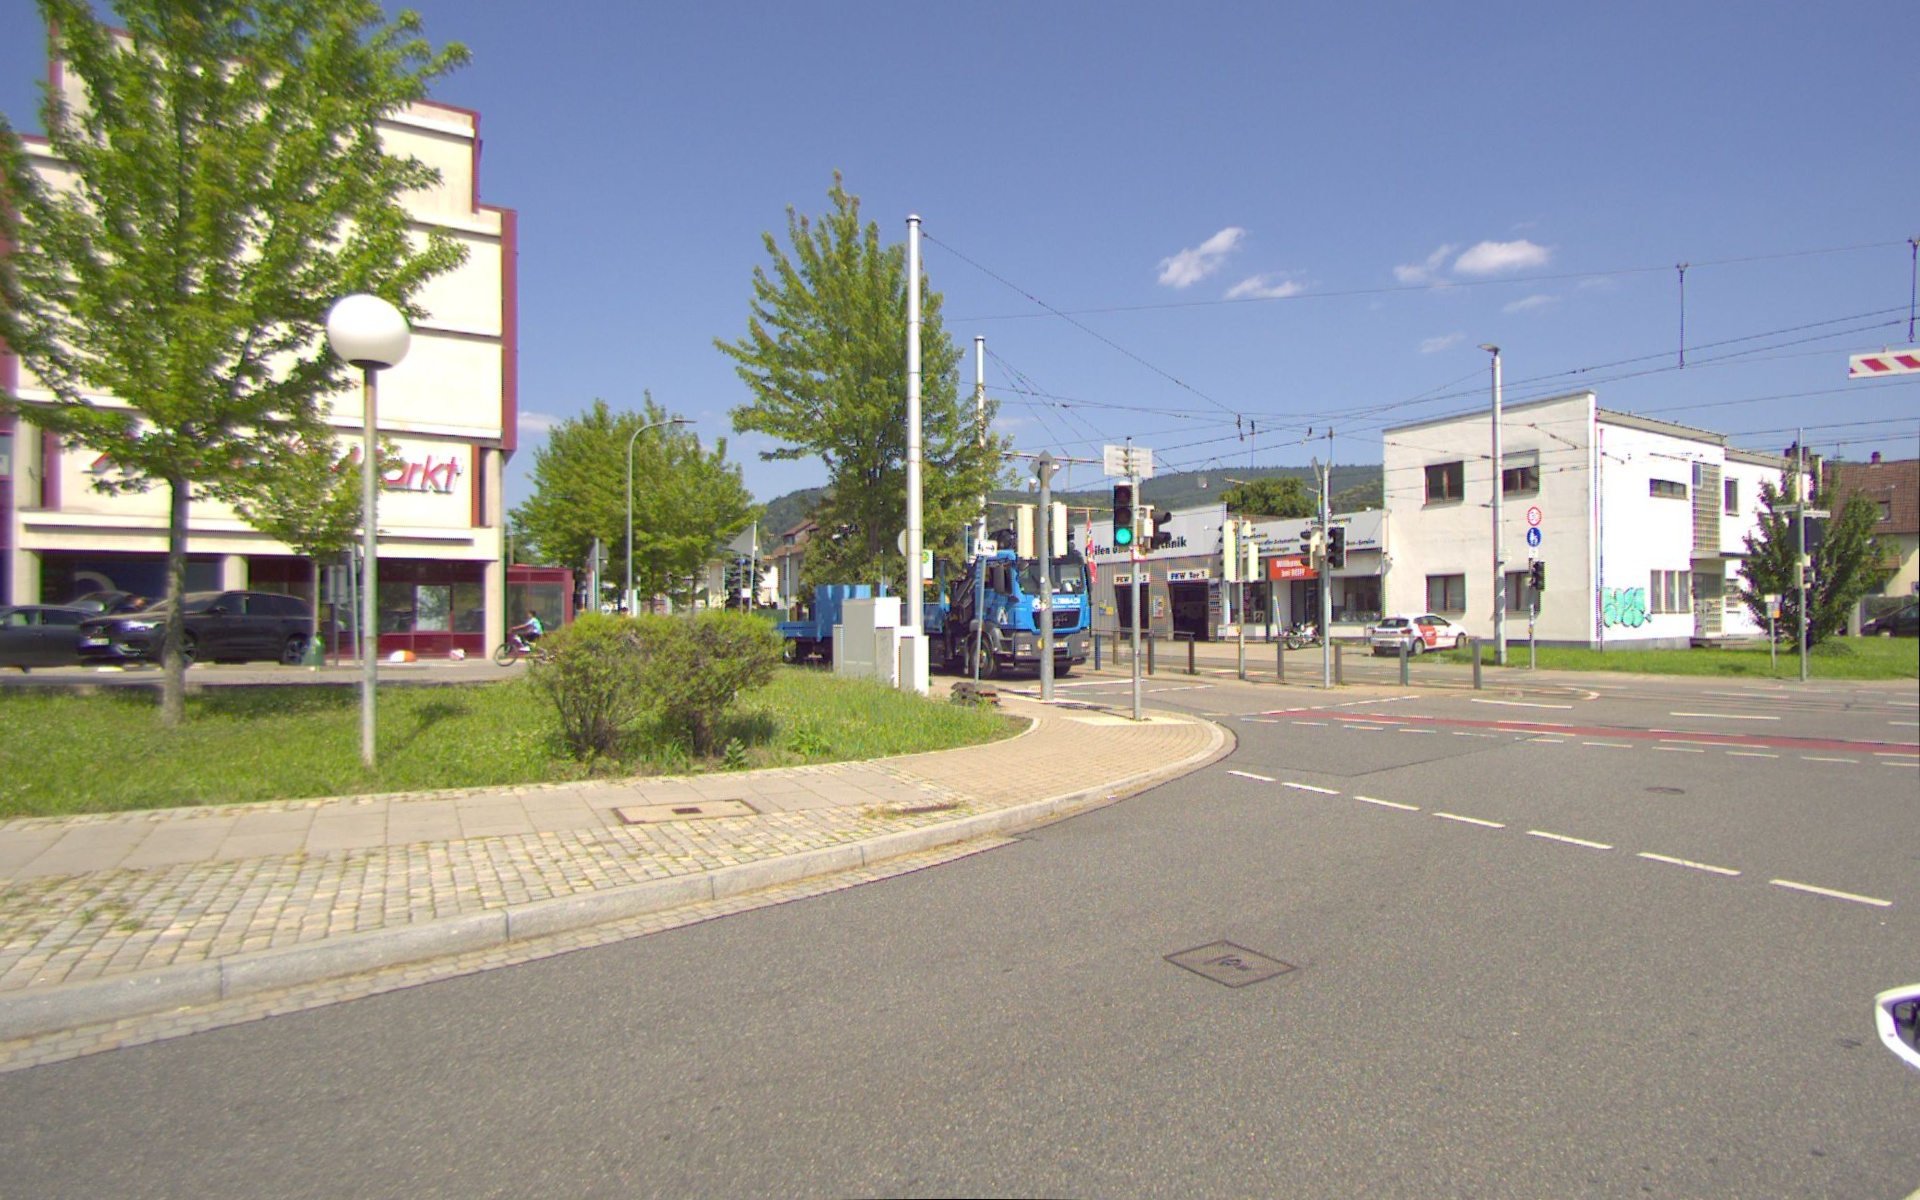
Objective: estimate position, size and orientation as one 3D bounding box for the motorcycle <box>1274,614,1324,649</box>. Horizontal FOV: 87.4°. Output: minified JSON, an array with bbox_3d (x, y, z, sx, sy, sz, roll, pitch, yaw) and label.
[{"bbox_3d":[14.116,1.298,41.751,2.166,1.326,0.725,-3,1,-33],"label":"motorcycle"}]

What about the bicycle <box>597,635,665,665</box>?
[{"bbox_3d":[-10.049,1.534,30.691,1.829,0.860,0.719,2,0,-42],"label":"bicycle"}]

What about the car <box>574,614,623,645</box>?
[{"bbox_3d":[-18.792,1.513,52.074,1.745,1.539,3.969,1,-1,-29],"label":"car"}]

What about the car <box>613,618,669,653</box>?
[{"bbox_3d":[-14.758,1.624,46.351,1.708,1.482,3.874,2,-1,-29],"label":"car"}]

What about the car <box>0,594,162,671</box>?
[{"bbox_3d":[-19.504,0.660,20.539,1.879,1.512,4.873,0,-2,12],"label":"car"}]

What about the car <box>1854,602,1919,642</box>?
[{"bbox_3d":[44.936,1.012,46.376,1.983,1.840,5.207,1,-2,-39],"label":"car"}]

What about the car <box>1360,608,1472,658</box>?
[{"bbox_3d":[16.670,1.169,36.693,3.956,1.482,1.873,-4,1,-33],"label":"car"}]

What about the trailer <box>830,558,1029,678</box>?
[{"bbox_3d":[-1.094,0.479,28.796,2.721,3.017,6.840,0,0,-31],"label":"trailer"}]

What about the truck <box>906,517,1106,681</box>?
[{"bbox_3d":[1.019,0.005,25.313,2.721,3.657,4.997,0,0,-31],"label":"truck"}]

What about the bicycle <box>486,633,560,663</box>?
[{"bbox_3d":[-12.548,1.372,28.870,1.825,0.804,0.721,2,0,-37],"label":"bicycle"}]

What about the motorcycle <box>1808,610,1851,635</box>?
[{"bbox_3d":[38.723,1.023,44.713,2.542,1.046,0.846,2,0,-35],"label":"motorcycle"}]

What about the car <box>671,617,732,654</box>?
[{"bbox_3d":[-12.485,1.672,48.347,1.709,1.605,4.037,-3,1,-31],"label":"car"}]

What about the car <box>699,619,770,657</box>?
[{"bbox_3d":[-9.748,1.585,43.233,1.709,1.492,4.243,-1,0,-31],"label":"car"}]

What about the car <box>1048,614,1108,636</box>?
[{"bbox_3d":[7.813,1.640,66.436,3.736,1.394,1.708,0,-1,-36],"label":"car"}]

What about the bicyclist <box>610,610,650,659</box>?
[{"bbox_3d":[-10.076,1.047,30.651,0.915,1.467,0.714,2,0,-41],"label":"bicyclist"}]

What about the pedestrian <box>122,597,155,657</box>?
[{"bbox_3d":[-19.133,0.619,23.410,0.515,1.374,0.459,1,-1,-31],"label":"pedestrian"}]

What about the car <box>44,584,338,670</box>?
[{"bbox_3d":[-16.500,0.670,22.024,2.143,1.615,5.120,-2,-3,7],"label":"car"}]

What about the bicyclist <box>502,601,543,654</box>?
[{"bbox_3d":[-12.558,0.792,28.858,0.913,1.467,0.715,2,0,-36],"label":"bicyclist"}]

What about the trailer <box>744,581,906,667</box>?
[{"bbox_3d":[-4.894,0.771,34.937,2.775,2.663,7.534,0,0,-32],"label":"trailer"}]
